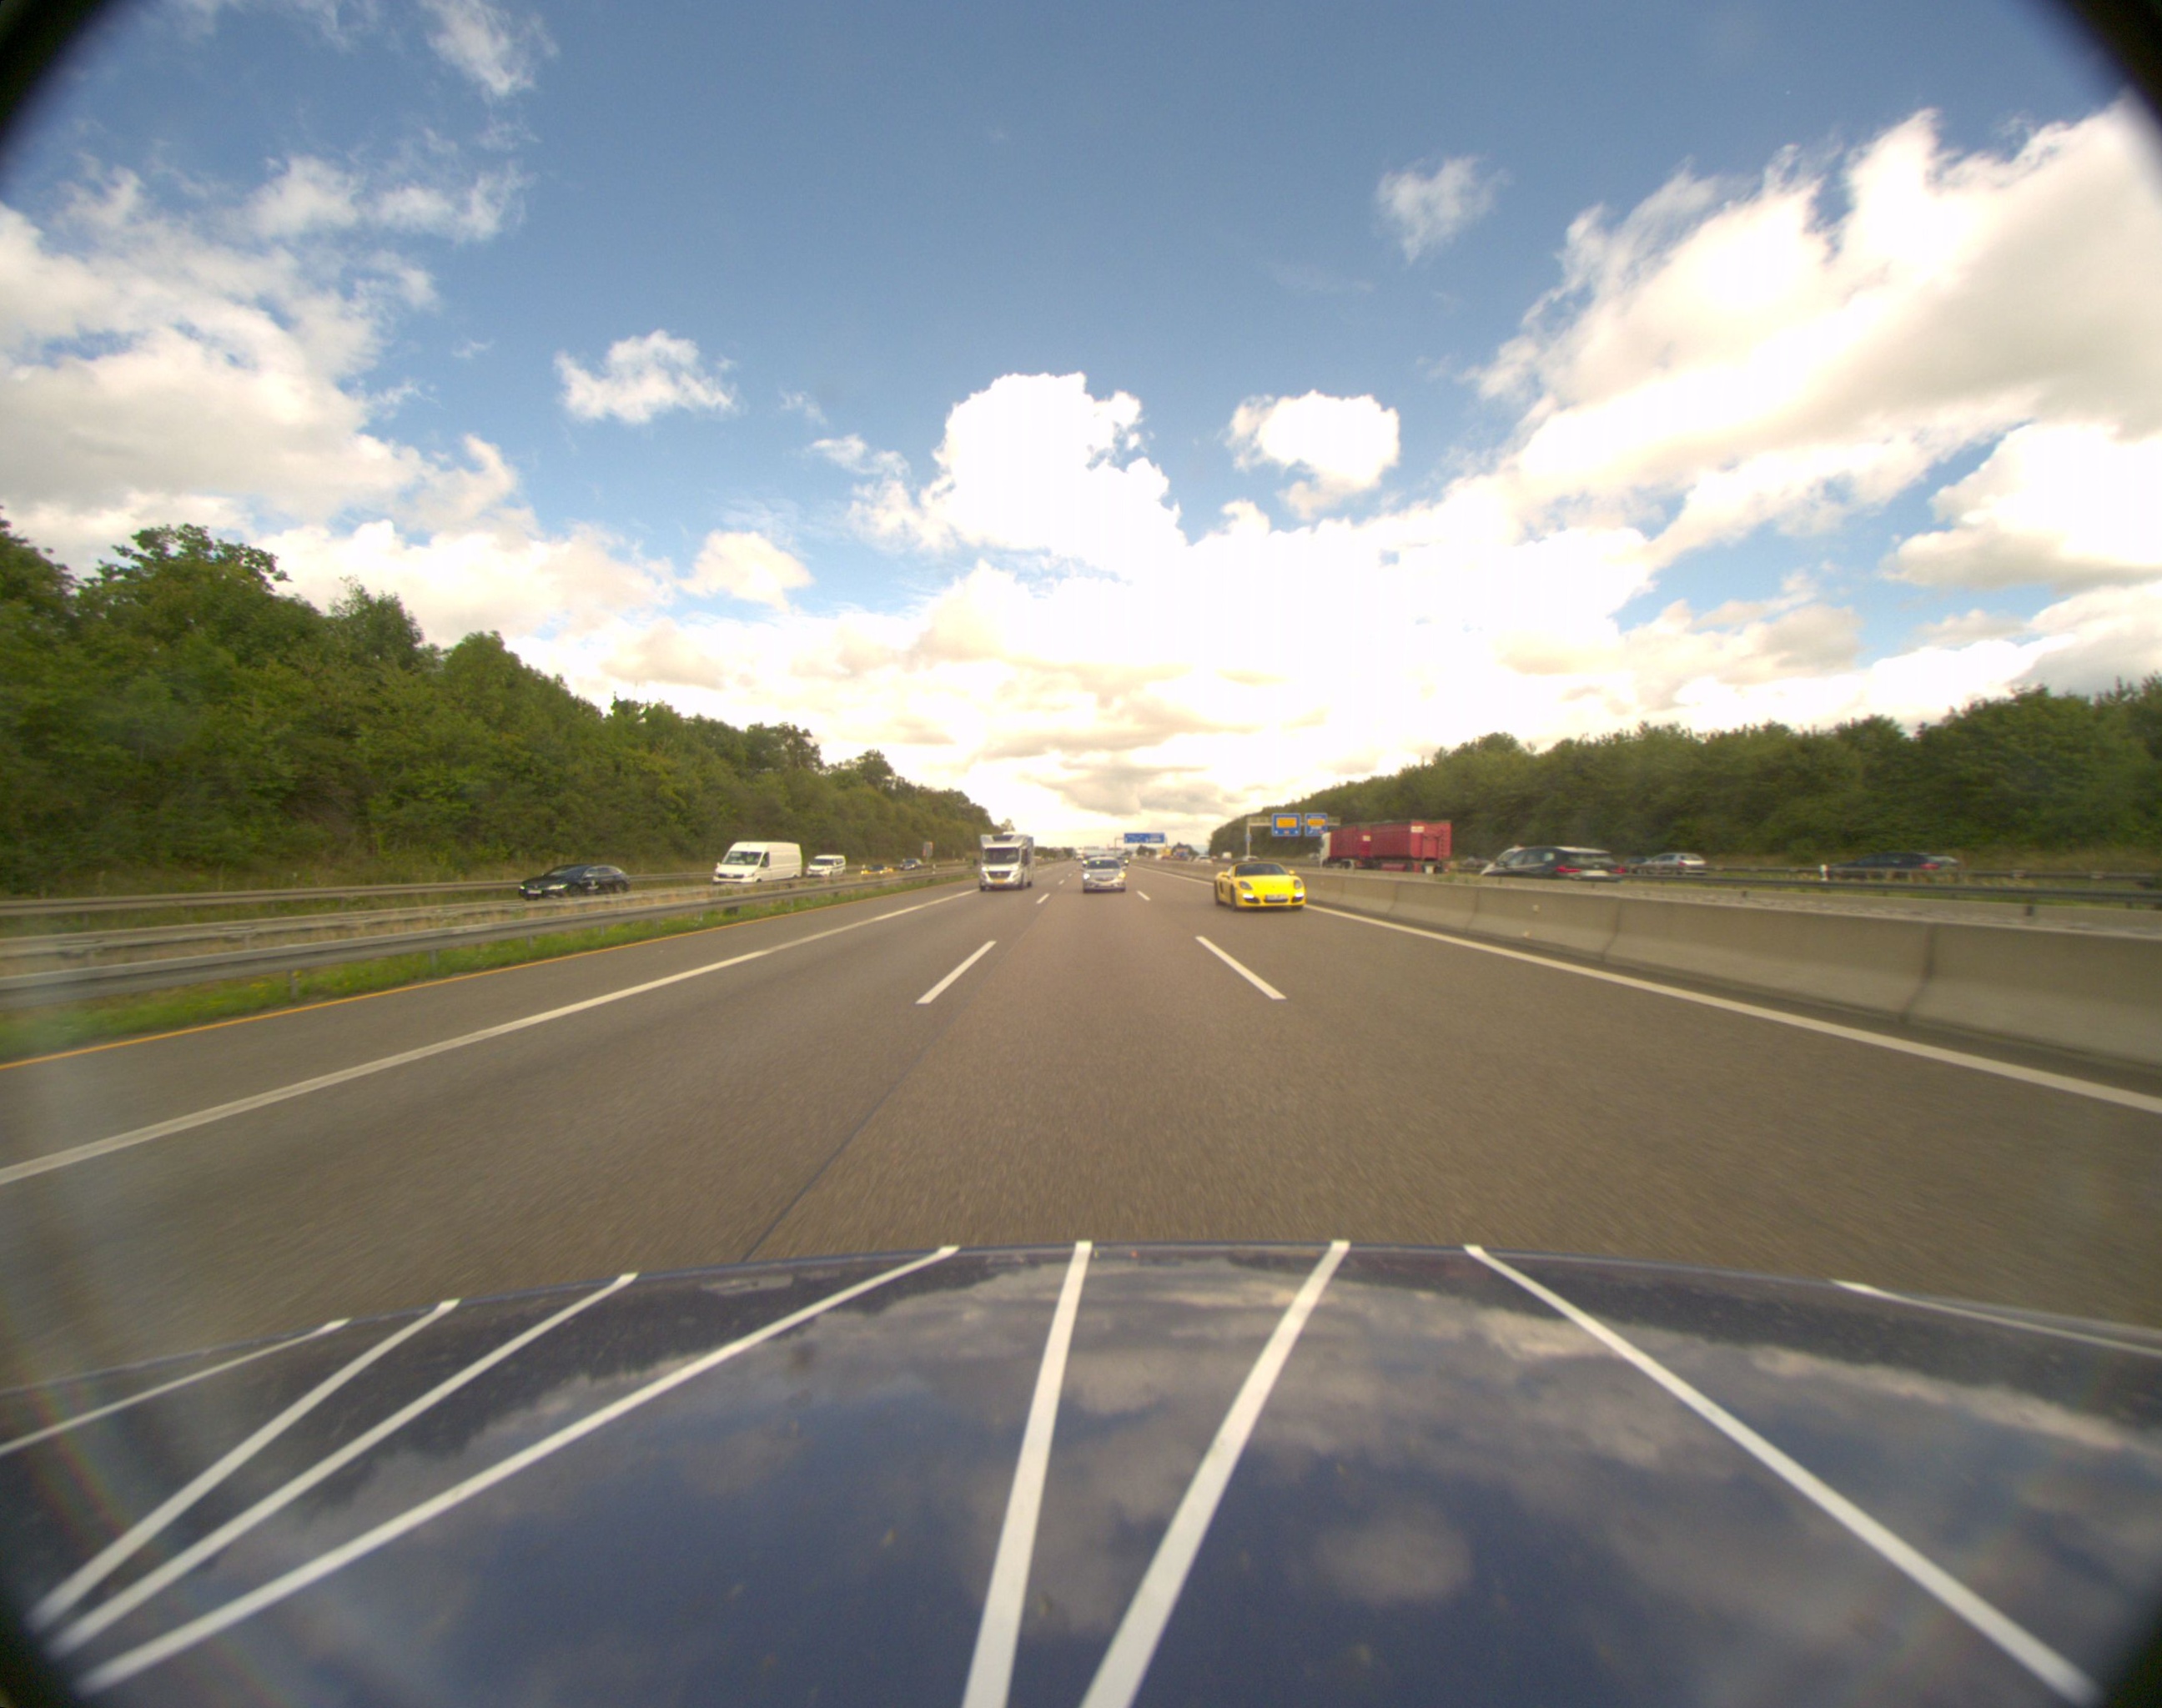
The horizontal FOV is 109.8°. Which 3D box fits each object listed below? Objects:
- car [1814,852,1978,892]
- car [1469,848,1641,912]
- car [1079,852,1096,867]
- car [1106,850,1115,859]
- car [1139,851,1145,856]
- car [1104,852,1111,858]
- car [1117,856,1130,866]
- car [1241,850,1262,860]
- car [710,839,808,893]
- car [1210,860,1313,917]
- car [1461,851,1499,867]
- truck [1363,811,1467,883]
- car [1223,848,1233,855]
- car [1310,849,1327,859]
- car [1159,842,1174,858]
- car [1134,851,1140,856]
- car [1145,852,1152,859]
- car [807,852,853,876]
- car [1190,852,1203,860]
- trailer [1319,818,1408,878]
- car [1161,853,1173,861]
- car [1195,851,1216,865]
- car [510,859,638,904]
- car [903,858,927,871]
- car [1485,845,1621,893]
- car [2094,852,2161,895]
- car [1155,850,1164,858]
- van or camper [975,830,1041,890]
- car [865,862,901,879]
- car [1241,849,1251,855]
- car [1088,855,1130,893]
[{"bbox_3d":[34.895,0.714,32.779,1.768,1.523,4.942,-1,0,0],"label":"car"},{"bbox_3d":[12.909,0.624,21.148,1.768,1.523,4.942,-1,0,1],"label":"car"},{"bbox_3d":[0.742,0.569,85.710,1.876,1.626,4.859,-1,0,1],"label":"car"},{"bbox_3d":[6.851,0.137,179.271,1.998,2.002,4.589,-1,0,1],"label":"car"},{"bbox_3d":[20.984,-0.263,262.468,1.598,1.601,4.464,-2,0,1],"label":"car"},{"bbox_3d":[7.924,0.296,228.831,1.998,1.846,4.286,-1,1,1],"label":"car"},{"bbox_3d":[5.924,0.932,105.578,1.593,1.307,3.978,1,0,1],"label":"car"},{"bbox_3d":[20.870,0.153,93.142,1.659,1.186,4.130,-1,0,1],"label":"car"},{"bbox_3d":[-16.319,0.571,39.028,2.075,2.539,6.743,0,0,1],"label":"car"},{"bbox_3d":[4.739,0.861,20.594,1.811,1.307,4.247,1,0,1],"label":"car"},{"bbox_3d":[42.475,0.502,81.011,1.733,1.525,4.452,-1,0,1],"label":"car"},{"bbox_3d":[21.578,-0.413,49.727,3.054,4.264,8.588,-1,0,0],"label":"truck"},{"bbox_3d":[45.141,-0.739,233.516,1.998,2.221,5.891,-1,0,2],"label":"car"},{"bbox_3d":[43.418,-0.020,139.021,1.886,1.652,4.419,-1,0,1],"label":"car"},{"bbox_3d":[24.478,-1.194,218.325,2.913,4.300,14.145,-1,0,1],"label":"car"},{"bbox_3d":[16.638,-0.170,225.963,1.670,1.393,4.534,-1,0,1],"label":"car"},{"bbox_3d":[21.443,0.471,241.429,1.757,2.002,4.553,-2,0,1],"label":"car"},{"bbox_3d":[-19.566,0.758,59.374,1.848,1.741,4.764,-2,0,1],"label":"car"},{"bbox_3d":[18.783,0.342,123.649,1.584,1.276,4.241,-1,0,1],"label":"car"},{"bbox_3d":[21.640,-0.443,59.047,3.054,4.264,10.654,-1,0,0],"label":"trailer"},{"bbox_3d":[15.185,0.463,133.915,1.761,1.394,4.074,-1,0,1],"label":"car"},{"bbox_3d":[14.467,0.462,88.532,1.692,1.496,4.643,-1,0,1],"label":"car"},{"bbox_3d":[-19.953,1.036,30.192,1.848,1.593,4.764,1,0,0],"label":"car"},{"bbox_3d":[-19.055,1.190,87.361,1.716,1.407,4.169,-1,0,1],"label":"car"},{"bbox_3d":[16.615,0.464,27.113,1.768,1.523,4.942,-1,0,0],"label":"car"},{"bbox_3d":[41.044,0.743,27.708,1.751,1.556,4.805,-1,0,-1],"label":"car"},{"bbox_3d":[19.157,0.003,185.877,1.738,1.784,5.124,-1,0,0],"label":"car"},{"bbox_3d":[-3.588,0.285,39.160,2.475,2.706,7.661,-2,0,1],"label":"van or camper"},{"bbox_3d":[-15.657,1.302,60.195,1.716,1.175,4.169,-2,0,1],"label":"car"},{"bbox_3d":[44.362,-0.517,204.473,1.851,1.652,4.419,-1,0,1],"label":"car"},{"bbox_3d":[1.144,0.799,32.824,1.687,1.476,4.616,-1,0,0],"label":"car"}]
